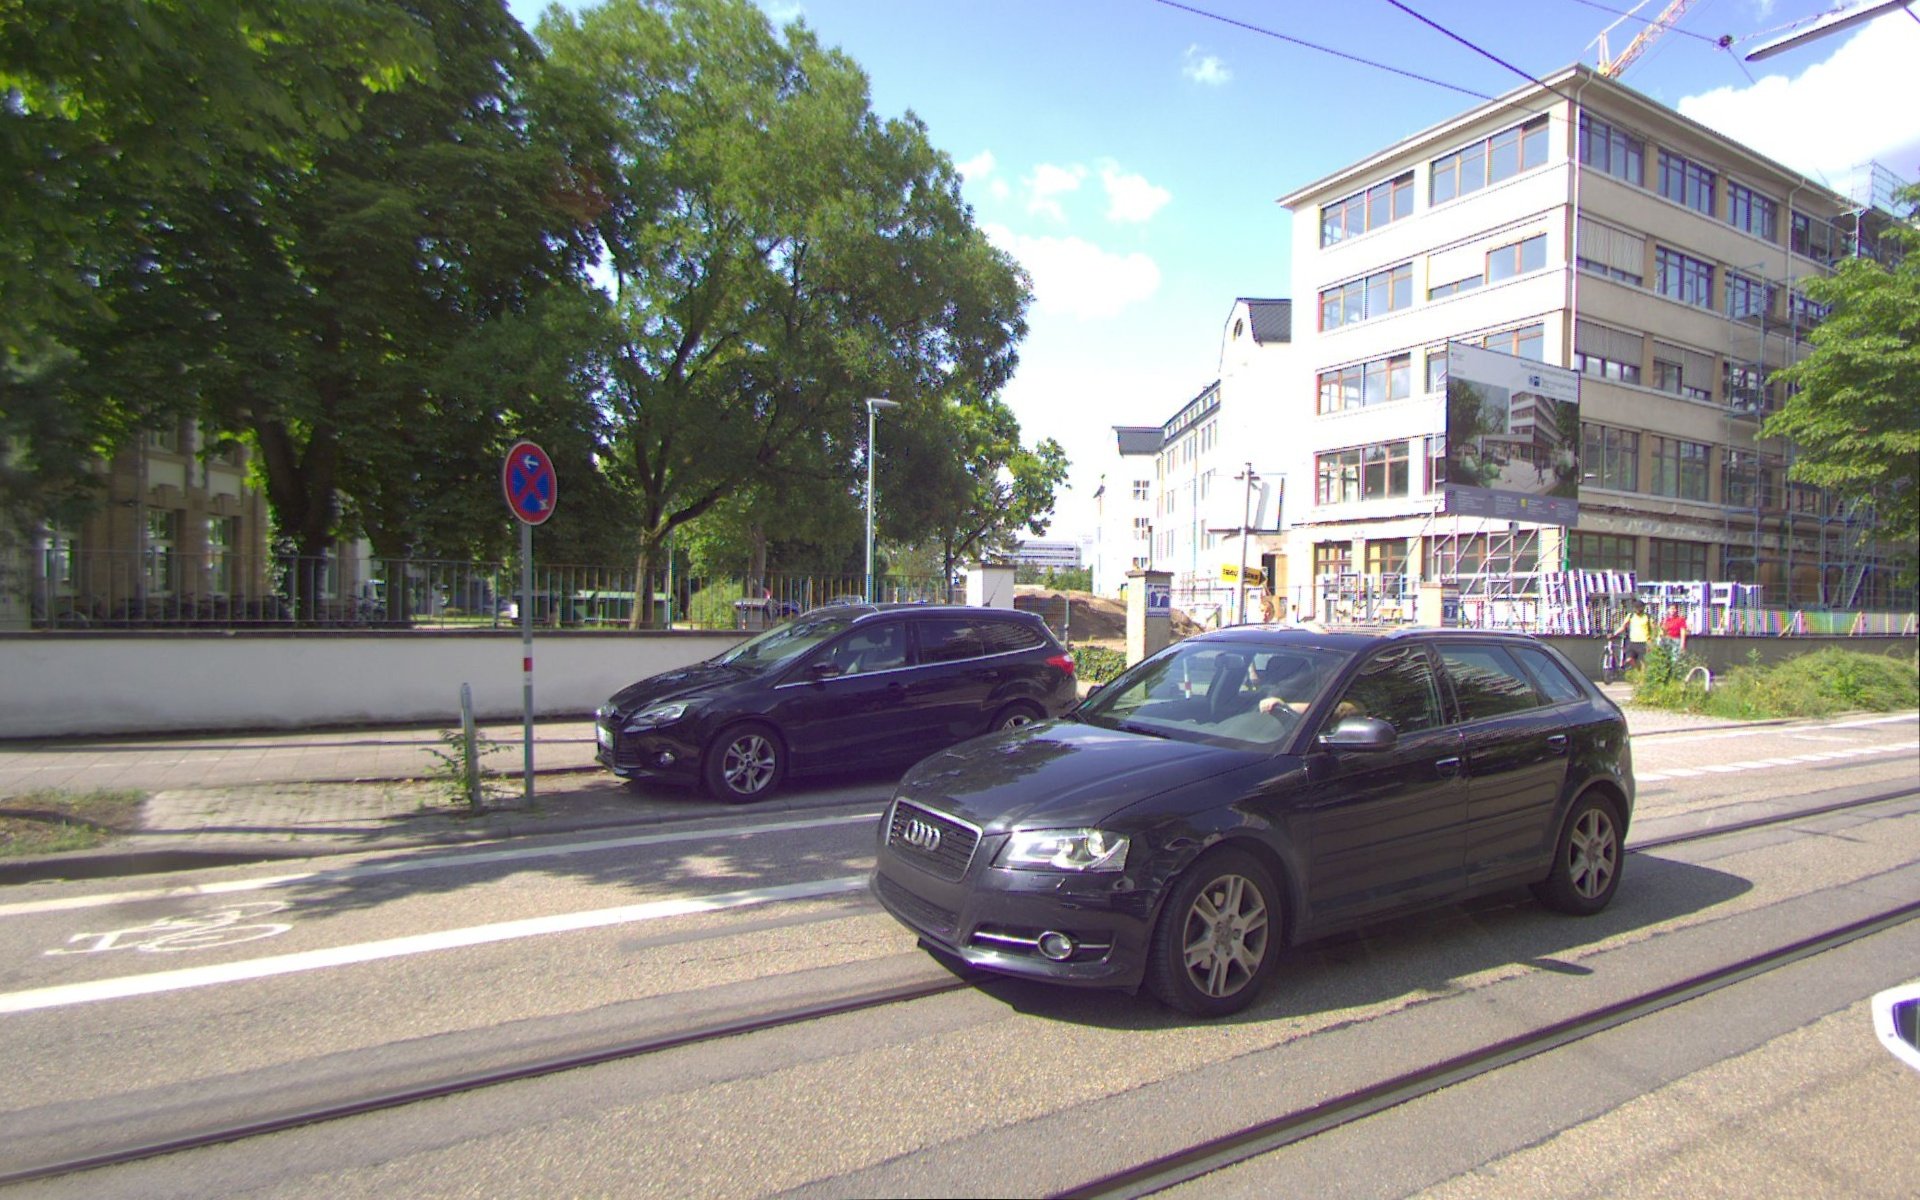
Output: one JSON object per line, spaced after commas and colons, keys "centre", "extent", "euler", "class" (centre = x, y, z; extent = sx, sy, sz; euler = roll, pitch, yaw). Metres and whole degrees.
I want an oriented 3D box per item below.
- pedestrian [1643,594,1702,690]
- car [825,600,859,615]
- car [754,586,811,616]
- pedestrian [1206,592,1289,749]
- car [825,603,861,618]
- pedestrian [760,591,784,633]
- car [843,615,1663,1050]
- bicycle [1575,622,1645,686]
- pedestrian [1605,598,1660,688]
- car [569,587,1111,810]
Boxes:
{"centre": [14.451, 0.826, 20.382], "extent": [0.655, 1.857, 0.702], "euler": [-1, 4, -35], "class": "pedestrian"}
{"centre": [-13.059, 0.821, 111.423], "extent": [3.594, 1.509, 1.785], "euler": [1, 0, 0], "class": "car"}
{"centre": [-12.715, 0.073, 72.092], "extent": [3.926, 2.040, 1.998], "euler": [1, 0, -7], "class": "car"}
{"centre": [3.196, 0.751, 11.155], "extent": [0.714, 1.659, 0.691], "euler": [2, 1, 27], "class": "pedestrian"}
{"centre": [-12.106, 1.086, 104.047], "extent": [3.596, 1.509, 1.785], "euler": [1, 0, -3], "class": "car"}
{"centre": [-7.443, 0.471, 39.680], "extent": [0.751, 1.642, 0.594], "euler": [1, 0, 9], "class": "pedestrian"}
{"centre": [1.579, 0.804, 4.999], "extent": [3.954, 1.394, 1.714], "euler": [1, -2, -31], "class": "car"}
{"centre": [13.832, 1.134, 21.365], "extent": [1.716, 1.303, 0.444], "euler": [1, 0, -28], "class": "bicycle"}
{"centre": [14.029, 0.893, 20.965], "extent": [0.655, 1.817, 0.702], "euler": [1, 1, -35], "class": "pedestrian"}
{"centre": [-0.948, 0.732, 9.052], "extent": [4.543, 1.536, 1.739], "euler": [1, 1, -33], "class": "car"}
